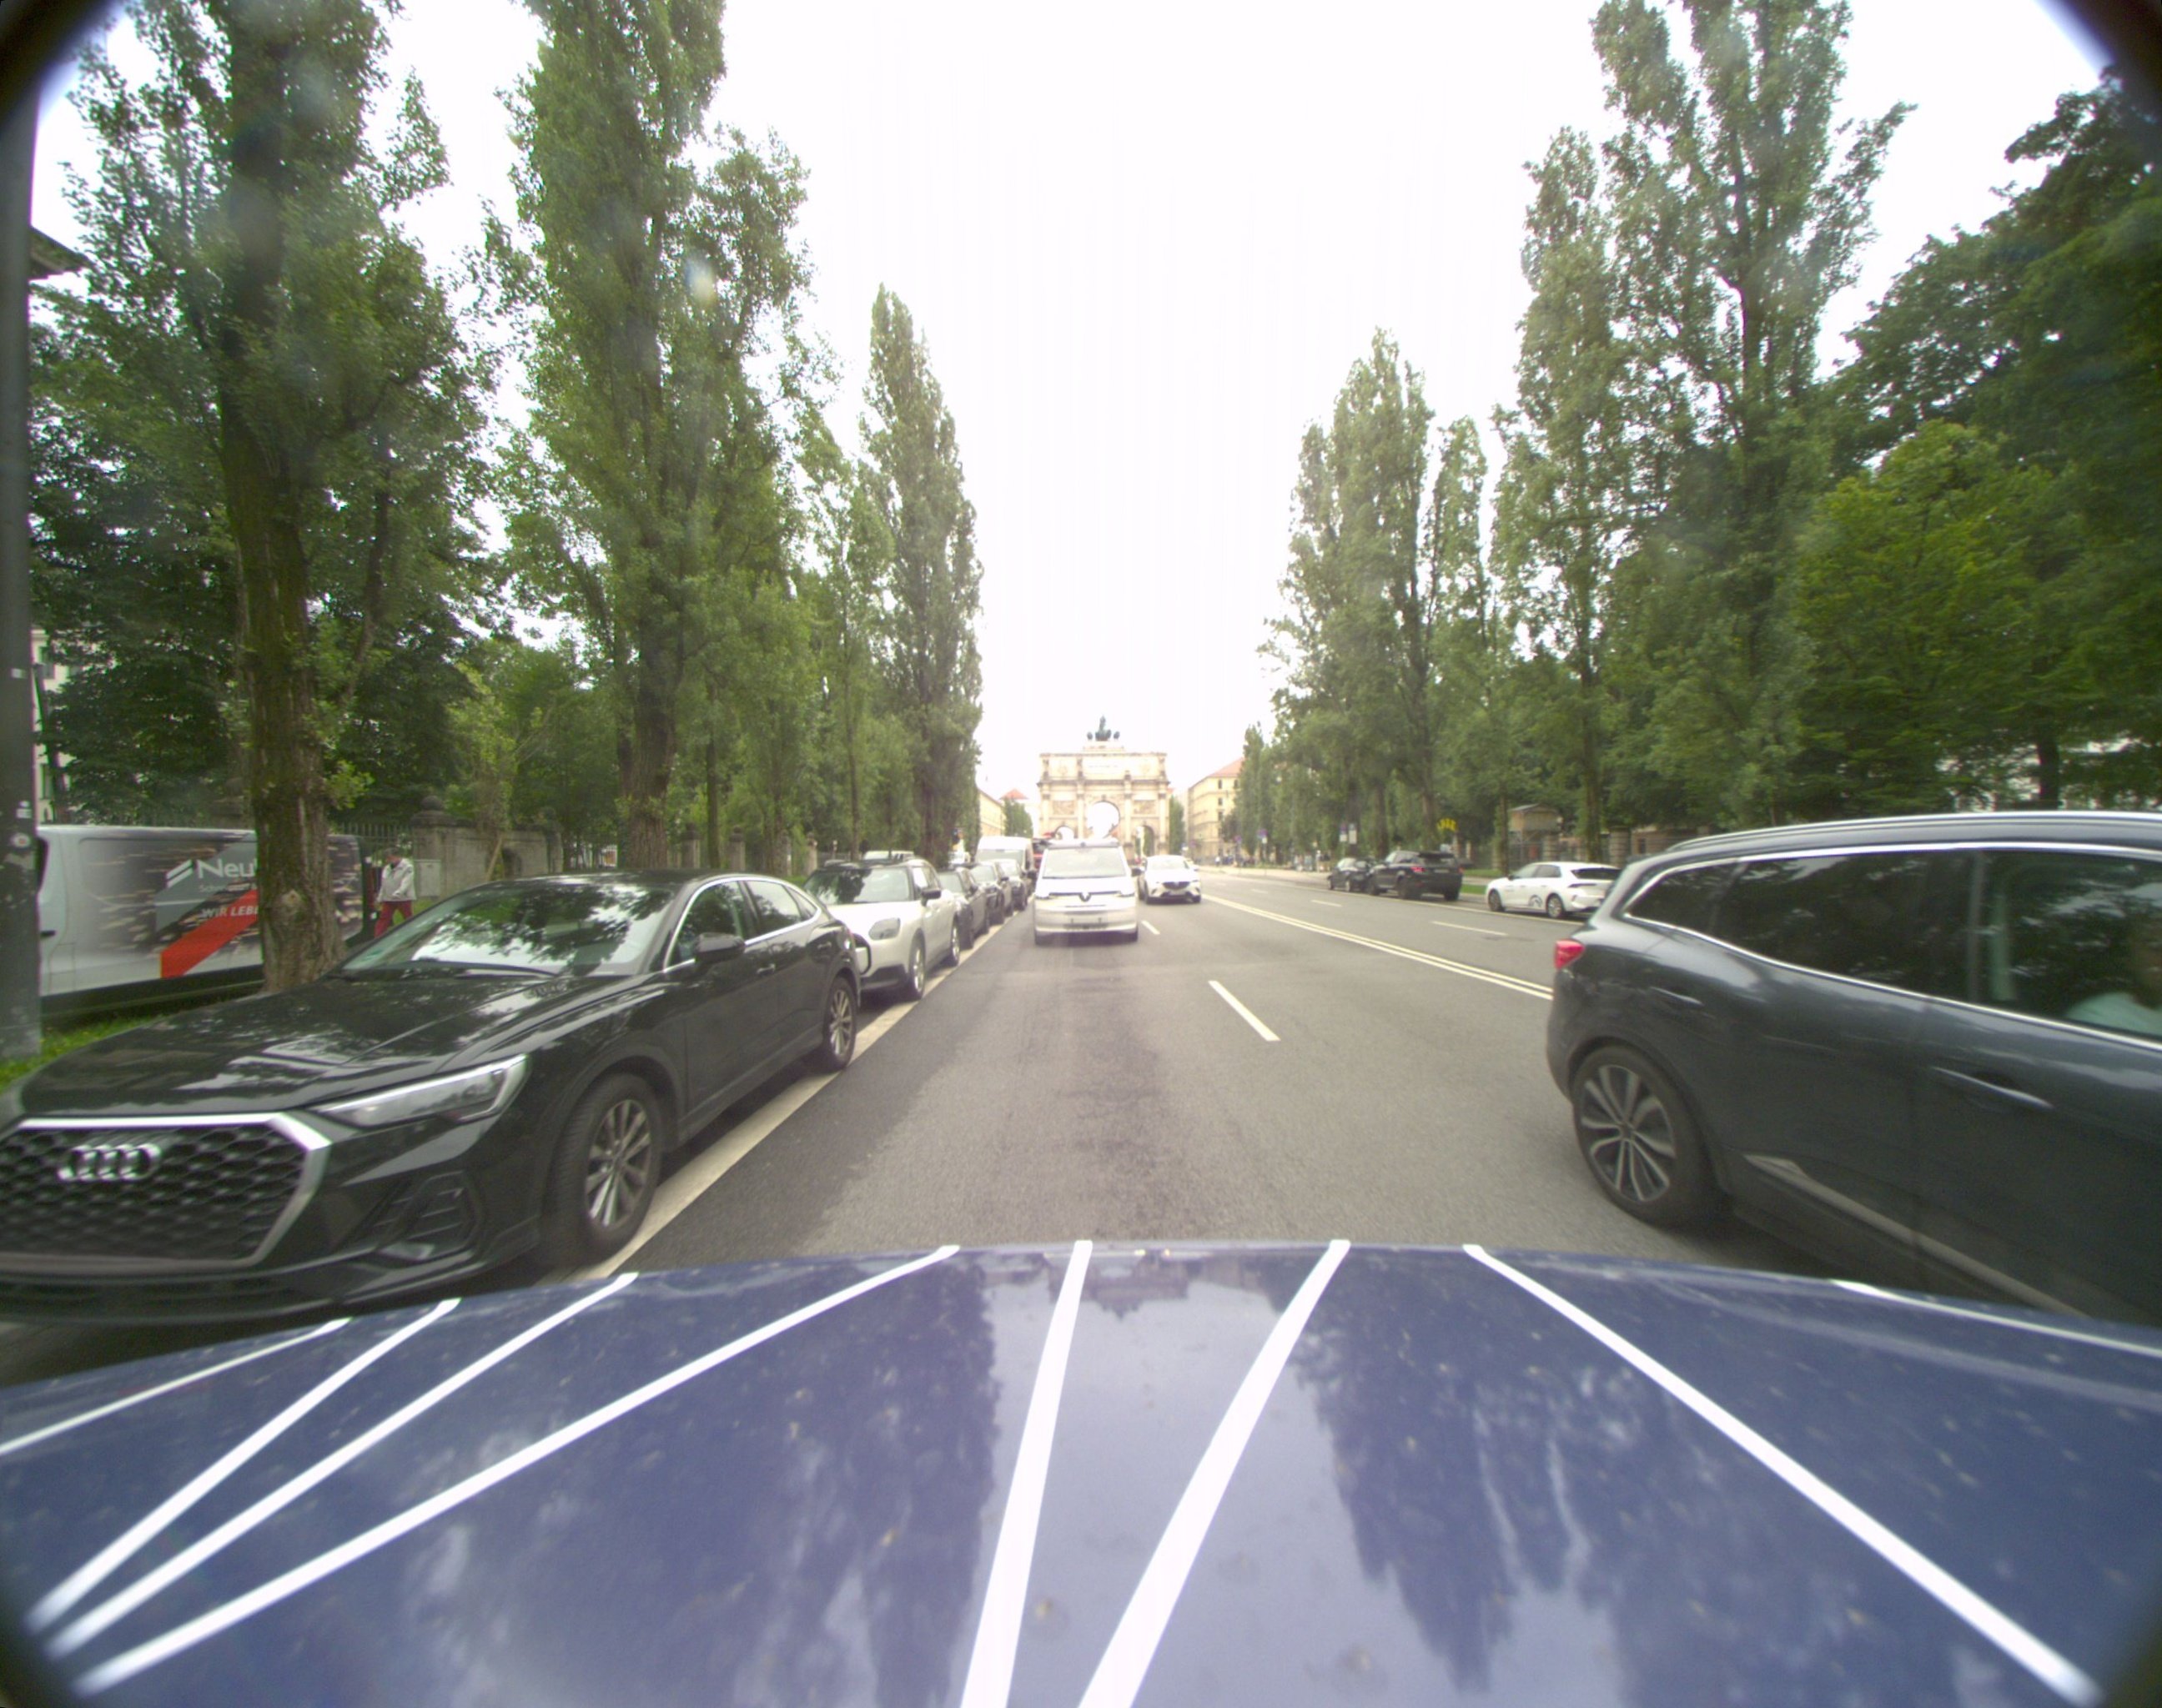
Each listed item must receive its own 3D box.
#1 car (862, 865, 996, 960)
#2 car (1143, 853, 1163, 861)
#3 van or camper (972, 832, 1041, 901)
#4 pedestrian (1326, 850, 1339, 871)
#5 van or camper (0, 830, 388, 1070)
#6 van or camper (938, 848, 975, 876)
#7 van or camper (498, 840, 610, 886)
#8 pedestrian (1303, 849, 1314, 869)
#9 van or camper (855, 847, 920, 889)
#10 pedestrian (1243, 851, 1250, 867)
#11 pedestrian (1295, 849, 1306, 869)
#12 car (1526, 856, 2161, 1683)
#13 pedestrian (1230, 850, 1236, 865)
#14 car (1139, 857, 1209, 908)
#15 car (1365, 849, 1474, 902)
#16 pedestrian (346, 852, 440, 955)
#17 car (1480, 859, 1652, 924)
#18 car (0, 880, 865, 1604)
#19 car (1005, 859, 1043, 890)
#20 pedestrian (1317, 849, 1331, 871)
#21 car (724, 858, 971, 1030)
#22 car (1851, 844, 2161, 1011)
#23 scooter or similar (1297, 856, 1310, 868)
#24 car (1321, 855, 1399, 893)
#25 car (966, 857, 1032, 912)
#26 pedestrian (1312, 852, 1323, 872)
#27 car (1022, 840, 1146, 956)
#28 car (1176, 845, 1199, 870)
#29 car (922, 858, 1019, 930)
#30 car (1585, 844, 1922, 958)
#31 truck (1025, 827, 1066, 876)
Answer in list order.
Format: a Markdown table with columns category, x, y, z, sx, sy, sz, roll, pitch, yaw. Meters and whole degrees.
| category | x | y | z | sx | sy | sz | roll | pitch | yaw |
| --- | --- | --- | --- | --- | --- | --- | --- | --- | --- |
| car | -2.757 | 0.995 | 14.747 | 1.707 | 1.511 | 4.295 | -1 | 0 | 0 |
| car | 14.815 | 0.617 | 156.521 | 2.004 | 1.739 | 3.989 | -1 | 0 | -40 |
| van or camper | -2.937 | 0.458 | 31.459 | 2.144 | 2.525 | 6.417 | -1 | 0 | 0 |
| pedestrian | 20.570 | 0.522 | 62.086 | 0.711 | 1.762 | 1.093 | -1 | 1 | -1 |
| van or camper | -9.721 | 0.801 | 6.757 | 2.081 | 1.922 | 5.368 | -2 | 0 | 1 |
| van or camper | -9.481 | 0.571 | 58.134 | 2.009 | 2.002 | 4.985 | -2 | 0 | -1 |
| van or camper | -32.181 | 0.556 | 46.527 | 5.222 | 2.690 | 2.249 | -1 | 0 | 0 |
| pedestrian | 19.233 | 0.417 | 64.232 | 0.689 | 1.690 | 0.885 | -1 | 0 | -1 |
| van or camper | -9.747 | 0.654 | 38.647 | 1.980 | 1.922 | 5.038 | -2 | 0 | 0 |
| pedestrian | 18.311 | 0.550 | 83.985 | 0.533 | 1.720 | 0.583 | -1 | 0 | -11 |
| pedestrian | 18.560 | 0.425 | 64.350 | 0.631 | 1.737 | 0.908 | -1 | 0 | -1 |
| car | 3.048 | 0.832 | 1.461 | 1.840 | 1.576 | 4.185 | -2 | 0 | -1 |
| pedestrian | 17.803 | 0.415 | 88.820 | 0.533 | 1.720 | 0.583 | -1 | 0 | -11 |
| car | 3.028 | 0.893 | 25.523 | 1.910 | 1.516 | 4.009 | -1 | 0 | 1 |
| car | 12.468 | 0.724 | 28.382 | 2.051 | 1.776 | 4.800 | 1 | 0 | 2 |
| pedestrian | -12.179 | 0.851 | 13.485 | 0.797 | 1.758 | 0.895 | -1 | 1 | 3 |
| car | 12.428 | 0.882 | 19.847 | 1.708 | 1.450 | 4.272 | 1 | 0 | 0 |
| car | -2.749 | 0.986 | 3.993 | 1.885 | 1.531 | 4.464 | -1 | 0 | 1 |
| car | -2.832 | 1.010 | 38.226 | 1.680 | 1.412 | 3.999 | -1 | 0 | -1 |
| pedestrian | 19.847 | 0.496 | 62.074 | 0.711 | 1.823 | 1.093 | -1 | 1 | -1 |
| car | -2.642 | 0.909 | 9.814 | 1.747 | 1.665 | 4.579 | -1 | 0 | 0 |
| car | 12.344 | 0.799 | 8.707 | 1.946 | 1.757 | 4.895 | 2 | 0 | -1 |
| scooter or similar | 21.733 | 0.793 | 74.268 | 0.747 | 1.171 | 1.416 | 1 | 0 | -5 |
| car | 12.623 | 0.871 | 34.670 | 1.949 | 1.574 | 4.389 | 1 | 0 | 1 |
| car | -2.597 | 0.916 | 24.888 | 1.789 | 1.639 | 4.417 | -1 | 0 | -2 |
| pedestrian | 19.994 | 0.657 | 64.275 | 0.661 | 1.706 | 0.911 | -1 | 0 | -1 |
| car | 0.085 | 0.745 | 15.829 | 2.064 | 1.916 | 5.728 | -2 | 0 | 1 |
| car | 12.075 | 0.329 | 86.327 | 1.797 | 1.333 | 4.453 | -1 | 21 | -2 |
| car | -2.710 | 0.915 | 19.643 | 1.788 | 1.608 | 4.637 | -1 | 0 | 0 |
| car | 12.511 | 0.746 | 14.785 | 1.914 | 1.779 | 5.179 | 2 | 0 | 0 |
| truck | -2.719 | -0.194 | 61.439 | 2.852 | 3.543 | 10.278 | -2 | 0 | -1 |
